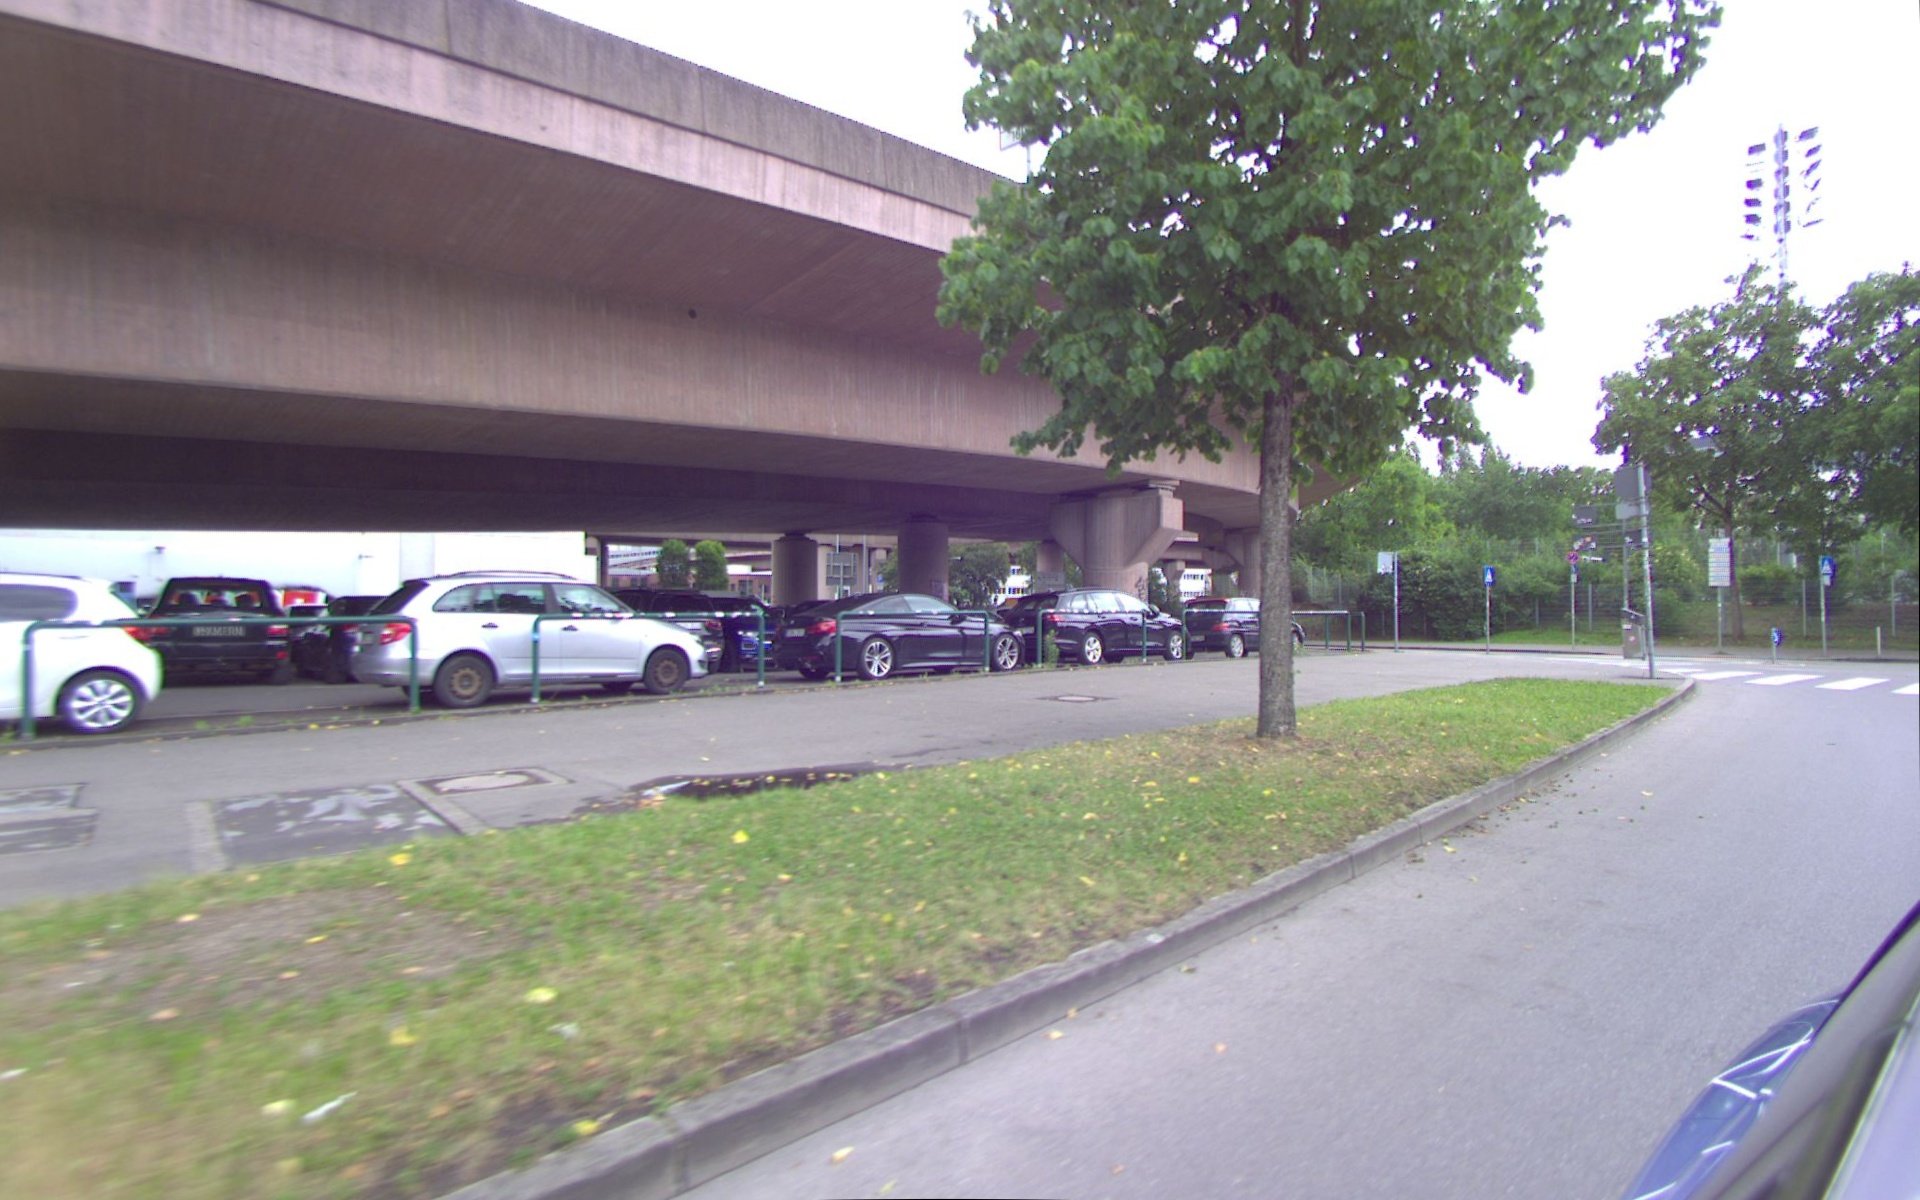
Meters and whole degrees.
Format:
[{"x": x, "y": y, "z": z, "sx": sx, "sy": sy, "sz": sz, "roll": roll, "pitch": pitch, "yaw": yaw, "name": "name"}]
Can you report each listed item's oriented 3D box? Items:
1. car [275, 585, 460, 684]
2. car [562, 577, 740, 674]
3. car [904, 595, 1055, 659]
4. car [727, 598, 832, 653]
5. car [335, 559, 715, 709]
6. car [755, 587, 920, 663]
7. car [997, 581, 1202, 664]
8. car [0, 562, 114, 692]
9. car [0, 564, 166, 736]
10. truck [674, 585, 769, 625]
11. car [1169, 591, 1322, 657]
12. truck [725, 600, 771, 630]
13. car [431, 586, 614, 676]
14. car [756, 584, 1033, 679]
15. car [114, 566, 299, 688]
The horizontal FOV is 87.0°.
[{"x": -9.984, "y": 0.555, "z": 16.938, "sx": 3.849, "sy": 1.457, "sz": 1.730, "roll": -1, "pitch": -2, "yaw": 45, "name": "car"}, {"x": -6.122, "y": 0.493, "z": 19.852, "sx": 3.849, "sy": 1.716, "sz": 1.730, "roll": -1, "pitch": -2, "yaw": 45, "name": "car"}, {"x": 0.451, "y": 0.690, "z": 26.253, "sx": 3.849, "sy": 1.529, "sz": 1.671, "roll": -1, "pitch": -2, "yaw": 45, "name": "car"}, {"x": -6.075, "y": 0.850, "z": 33.828, "sx": 1.805, "sy": 1.720, "sz": 3.857, "roll": 1, "pitch": -2, "yaw": -39, "name": "car"}, {"x": -5.194, "y": 0.379, "z": 12.441, "sx": 4.002, "sy": 1.555, "sz": 1.613, "roll": 1, "pitch": -2, "yaw": -44, "name": "car"}, {"x": -2.851, "y": 0.559, "z": 23.080, "sx": 3.849, "sy": 1.575, "sz": 1.730, "roll": -1, "pitch": -2, "yaw": 45, "name": "car"}, {"x": 2.778, "y": 0.423, "z": 19.596, "sx": 4.173, "sy": 1.439, "sz": 1.507, "roll": 0, "pitch": -3, "yaw": -40, "name": "car"}, {"x": -13.473, "y": 0.373, "z": 14.473, "sx": 3.849, "sy": 1.659, "sz": 1.730, "roll": -1, "pitch": -2, "yaw": 45, "name": "car"}, {"x": -9.072, "y": 0.437, "z": 8.838, "sx": 3.317, "sy": 1.458, "sz": 1.577, "roll": 1, "pitch": -2, "yaw": -40, "name": "car"}, {"x": -27.397, "y": 0.655, "z": 116.465, "sx": 9.946, "sy": 4.423, "sz": 3.911, "roll": 1, "pitch": -3, "yaw": -37, "name": "truck"}, {"x": 6.546, "y": 0.540, "z": 23.089, "sx": 3.633, "sy": 1.347, "sz": 1.507, "roll": 0, "pitch": -5, "yaw": -40, "name": "car"}, {"x": -21.472, "y": 1.532, "z": 102.822, "sx": 2.420, "sy": 2.923, "sz": 6.096, "roll": 0, "pitch": -1, "yaw": 11, "name": "truck"}, {"x": -7.972, "y": 0.542, "z": 18.301, "sx": 3.849, "sy": 1.453, "sz": 1.730, "roll": -1, "pitch": -2, "yaw": 45, "name": "car"}, {"x": -0.954, "y": 0.473, "z": 16.359, "sx": 4.298, "sy": 1.338, "sz": 1.769, "roll": 1, "pitch": -2, "yaw": -41, "name": "car"}, {"x": -11.752, "y": 0.403, "z": 15.694, "sx": 3.849, "sy": 1.659, "sz": 1.730, "roll": -1, "pitch": -2, "yaw": 45, "name": "car"}]
